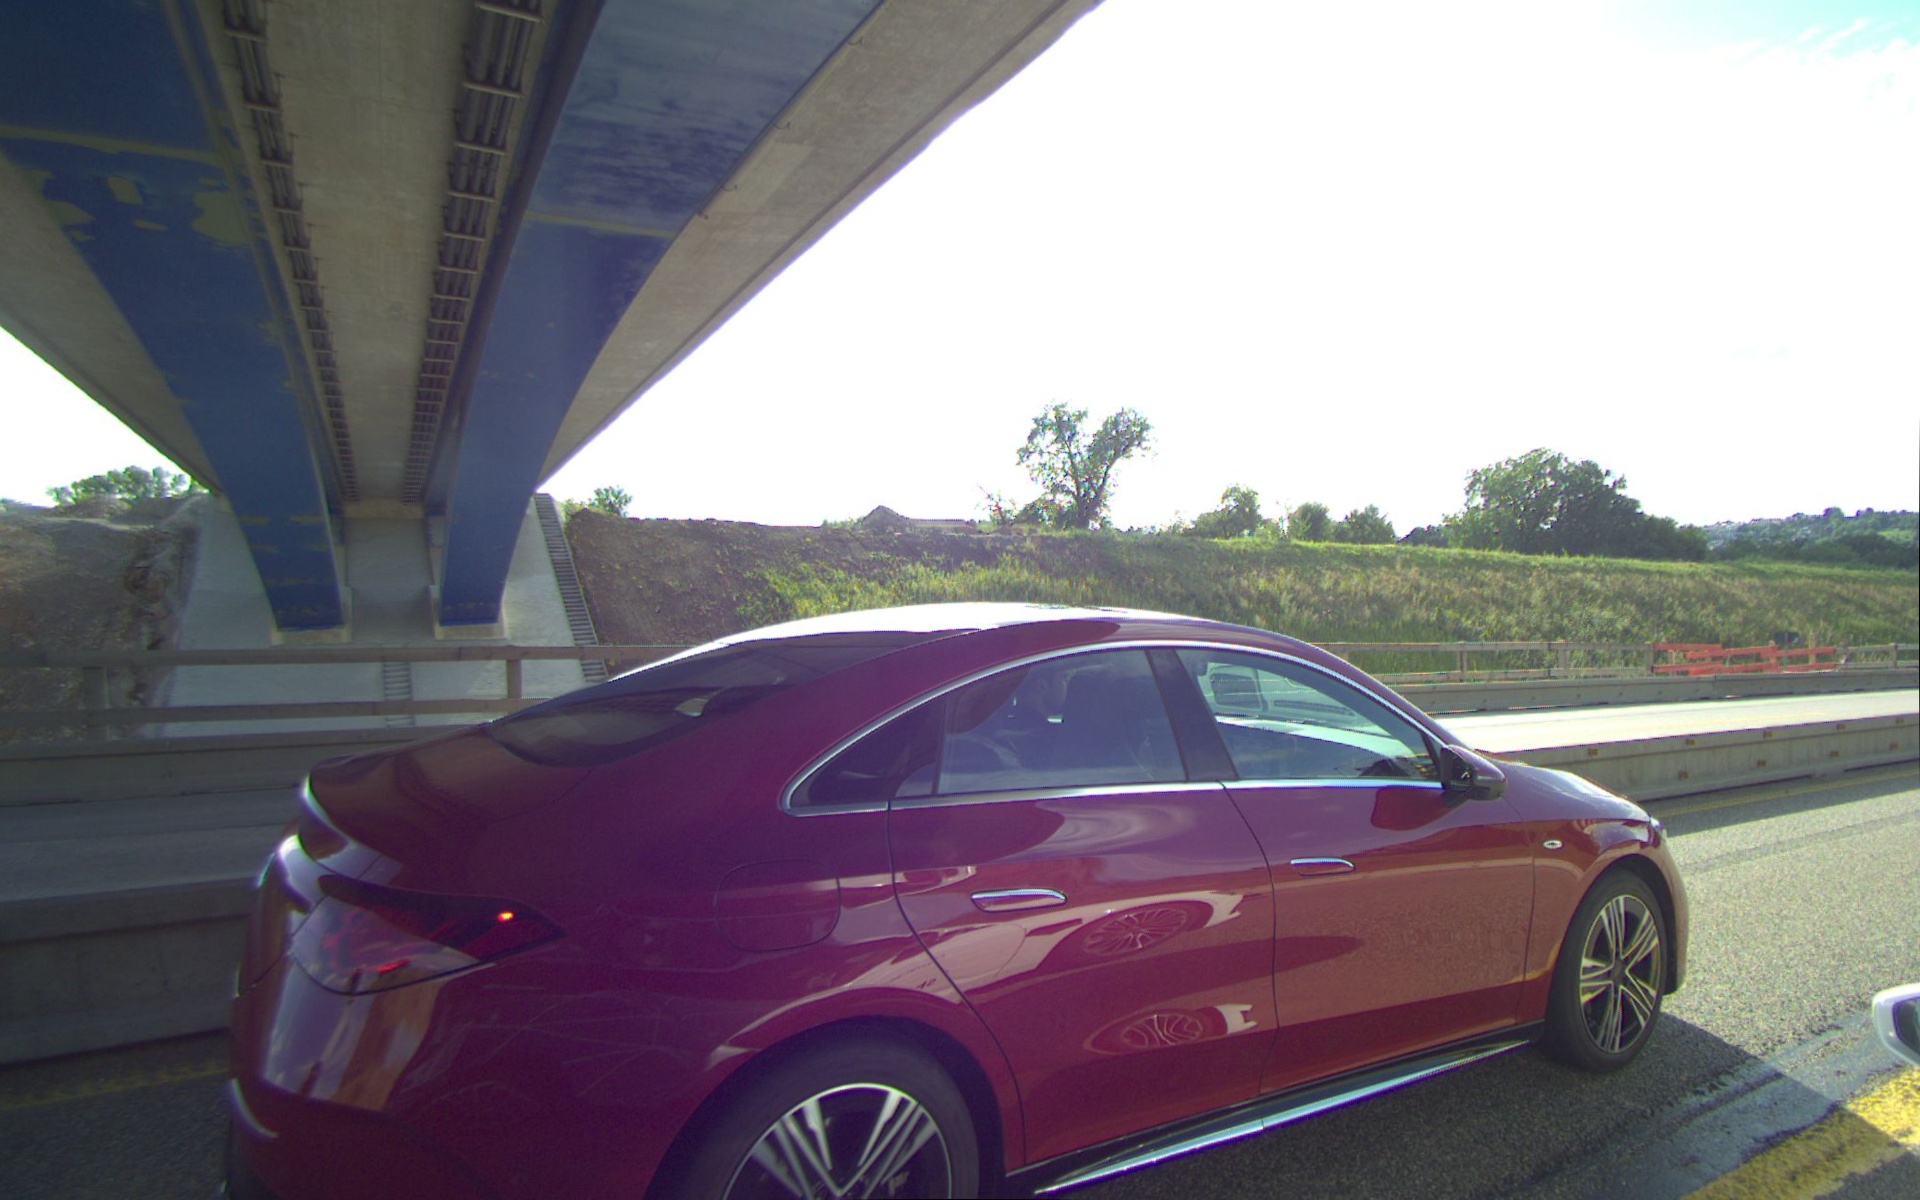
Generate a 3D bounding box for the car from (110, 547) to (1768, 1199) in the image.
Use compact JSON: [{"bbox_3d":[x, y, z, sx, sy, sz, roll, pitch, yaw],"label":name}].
[{"bbox_3d":[0.473,0.715,3.236,4.629,1.512,1.814,1,0,-31],"label":"car"}]
